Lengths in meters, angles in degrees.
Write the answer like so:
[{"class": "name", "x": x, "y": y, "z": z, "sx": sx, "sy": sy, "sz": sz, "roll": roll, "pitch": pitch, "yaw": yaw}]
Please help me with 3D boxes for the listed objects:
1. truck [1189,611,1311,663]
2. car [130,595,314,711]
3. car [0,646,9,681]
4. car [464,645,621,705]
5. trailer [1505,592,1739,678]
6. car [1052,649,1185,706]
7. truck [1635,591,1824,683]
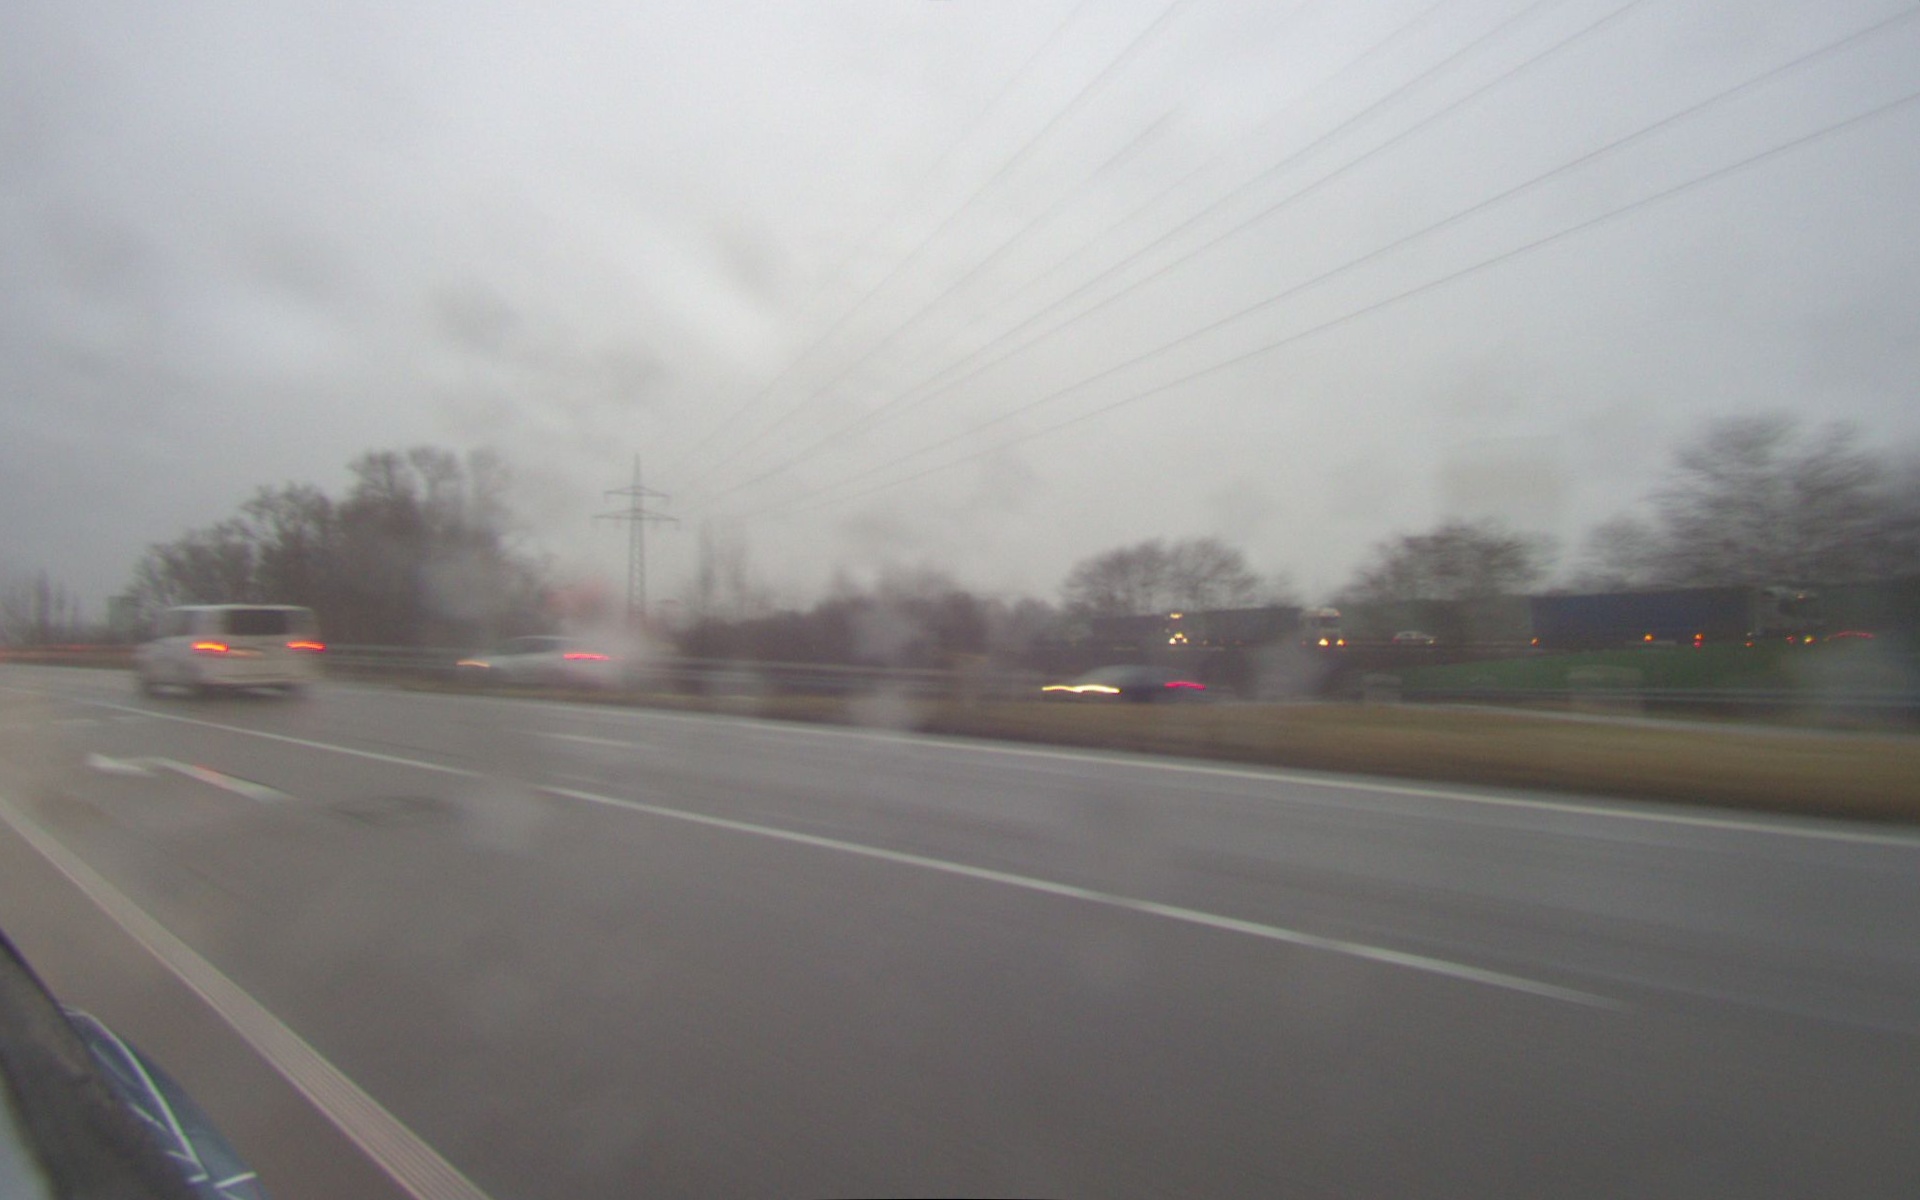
[{"class": "truck", "x": 28.483, "y": 3.473, "z": 100.608, "sx": 3.229, "sy": 4.645, "sz": 13.921, "roll": 0, "pitch": 0, "yaw": -25}, {"class": "car", "x": -15.550, "y": 1.107, "z": 21.218, "sx": 5.175, "sy": 2.154, "sz": 1.853, "roll": -3, "pitch": -4, "yaw": 40}, {"class": "car", "x": -43.769, "y": 2.799, "z": 44.970, "sx": 3.996, "sy": 1.513, "sz": 1.630, "roll": -2, "pitch": -4, "yaw": 40}, {"class": "car", "x": -12.207, "y": 2.217, "z": 29.725, "sx": 3.810, "sy": 1.645, "sz": 1.917, "roll": -1, "pitch": -5, "yaw": 5}, {"class": "trailer", "x": 43.360, "y": 2.081, "z": 67.232, "sx": 3.255, "sy": 5.142, "sz": 13.273, "roll": 0, "pitch": 0, "yaw": -24}, {"class": "car", "x": 5.075, "y": 2.460, "z": 32.183, "sx": 4.221, "sy": 1.689, "sz": 2.002, "roll": 4, "pitch": -6, "yaw": -43}, {"class": "truck", "x": 46.156, "y": 2.065, "z": 61.088, "sx": 3.229, "sy": 5.168, "sz": 8.547, "roll": 0, "pitch": 0, "yaw": -25}]
